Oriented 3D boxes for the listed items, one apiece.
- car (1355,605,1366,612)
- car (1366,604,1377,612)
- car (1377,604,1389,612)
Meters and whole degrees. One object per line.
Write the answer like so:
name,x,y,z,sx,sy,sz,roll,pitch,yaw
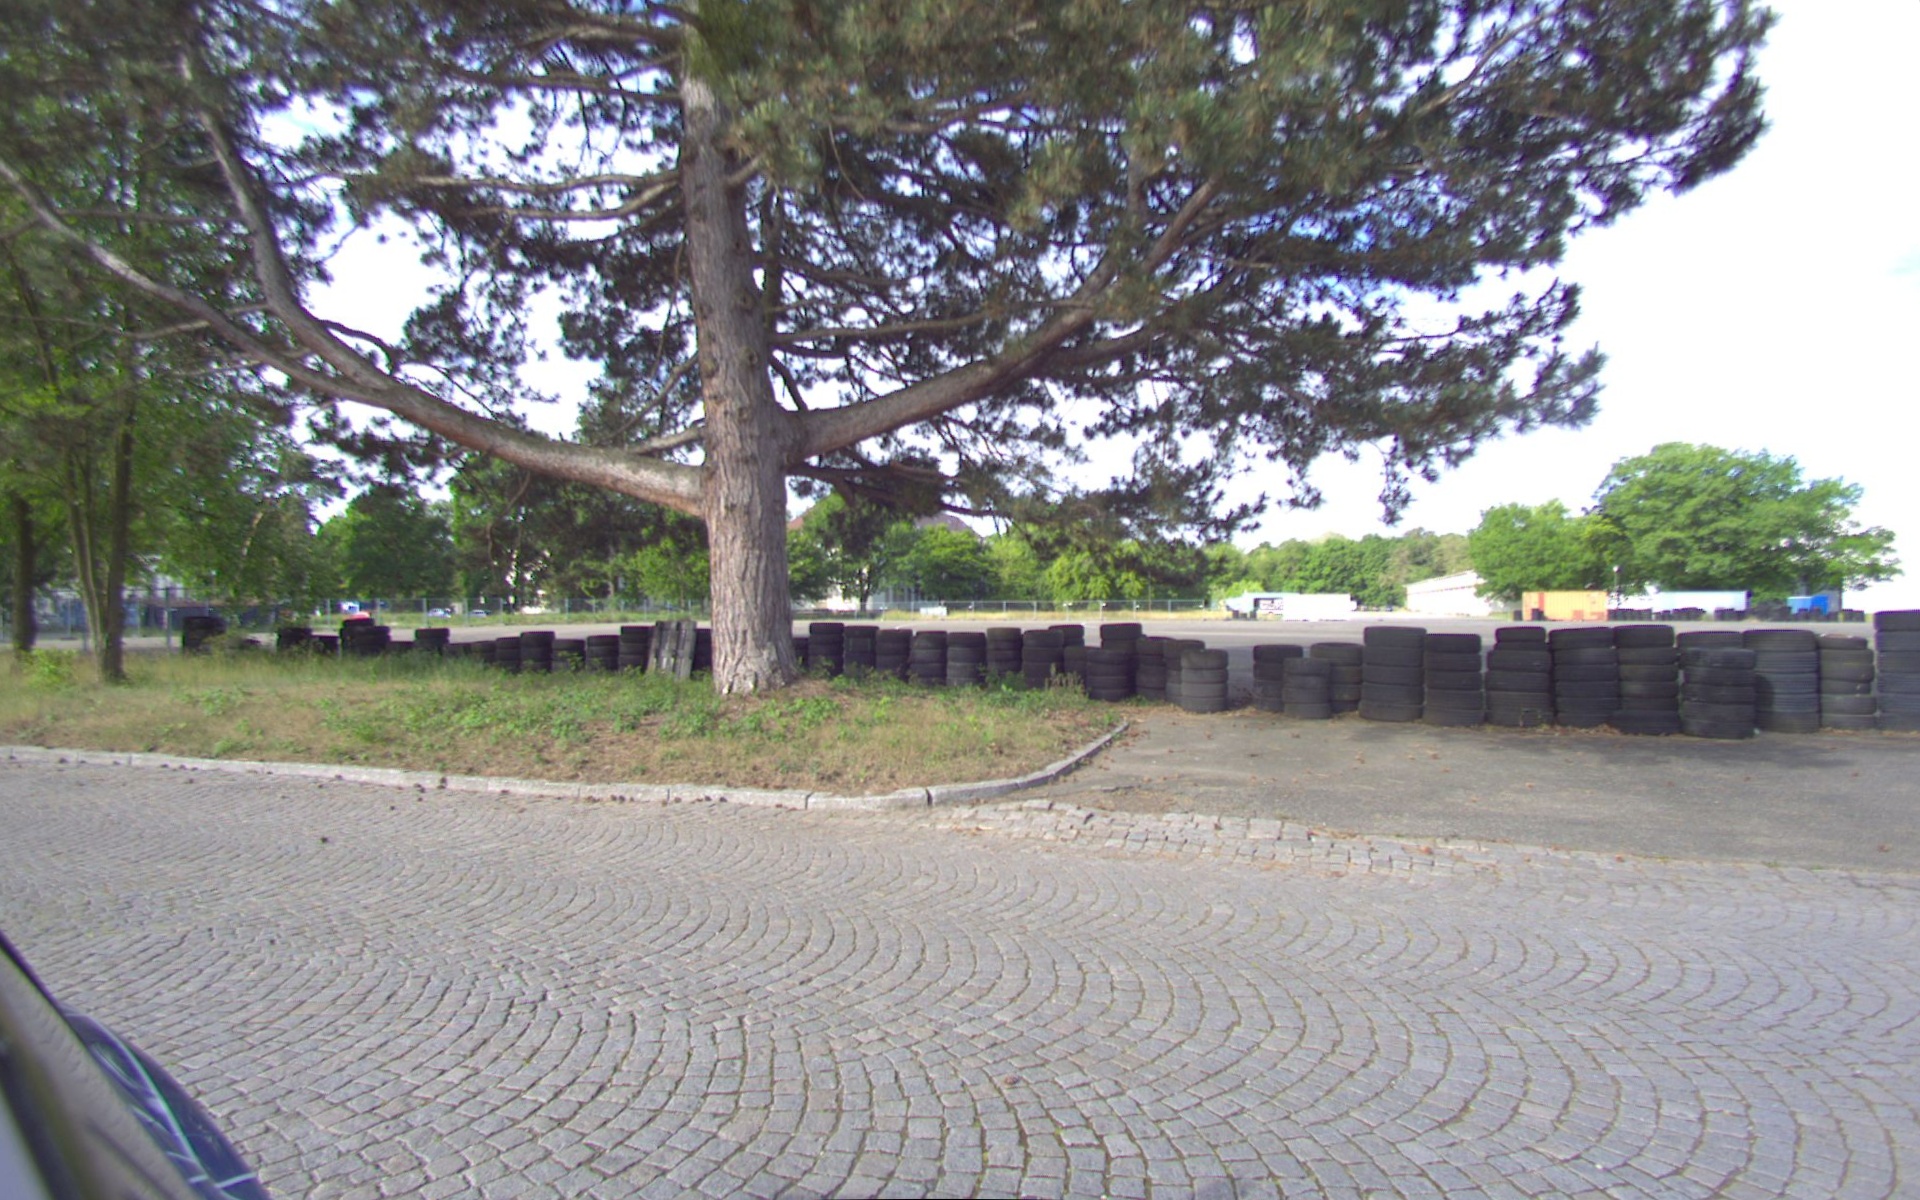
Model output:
car,92.410,1.944,233.297,1.982,1.763,3.979,-1,-1,16
car,94.596,1.888,232.713,2.020,1.822,3.979,-1,0,16
car,96.976,1.761,231.865,1.982,1.763,3.979,-1,-1,16
